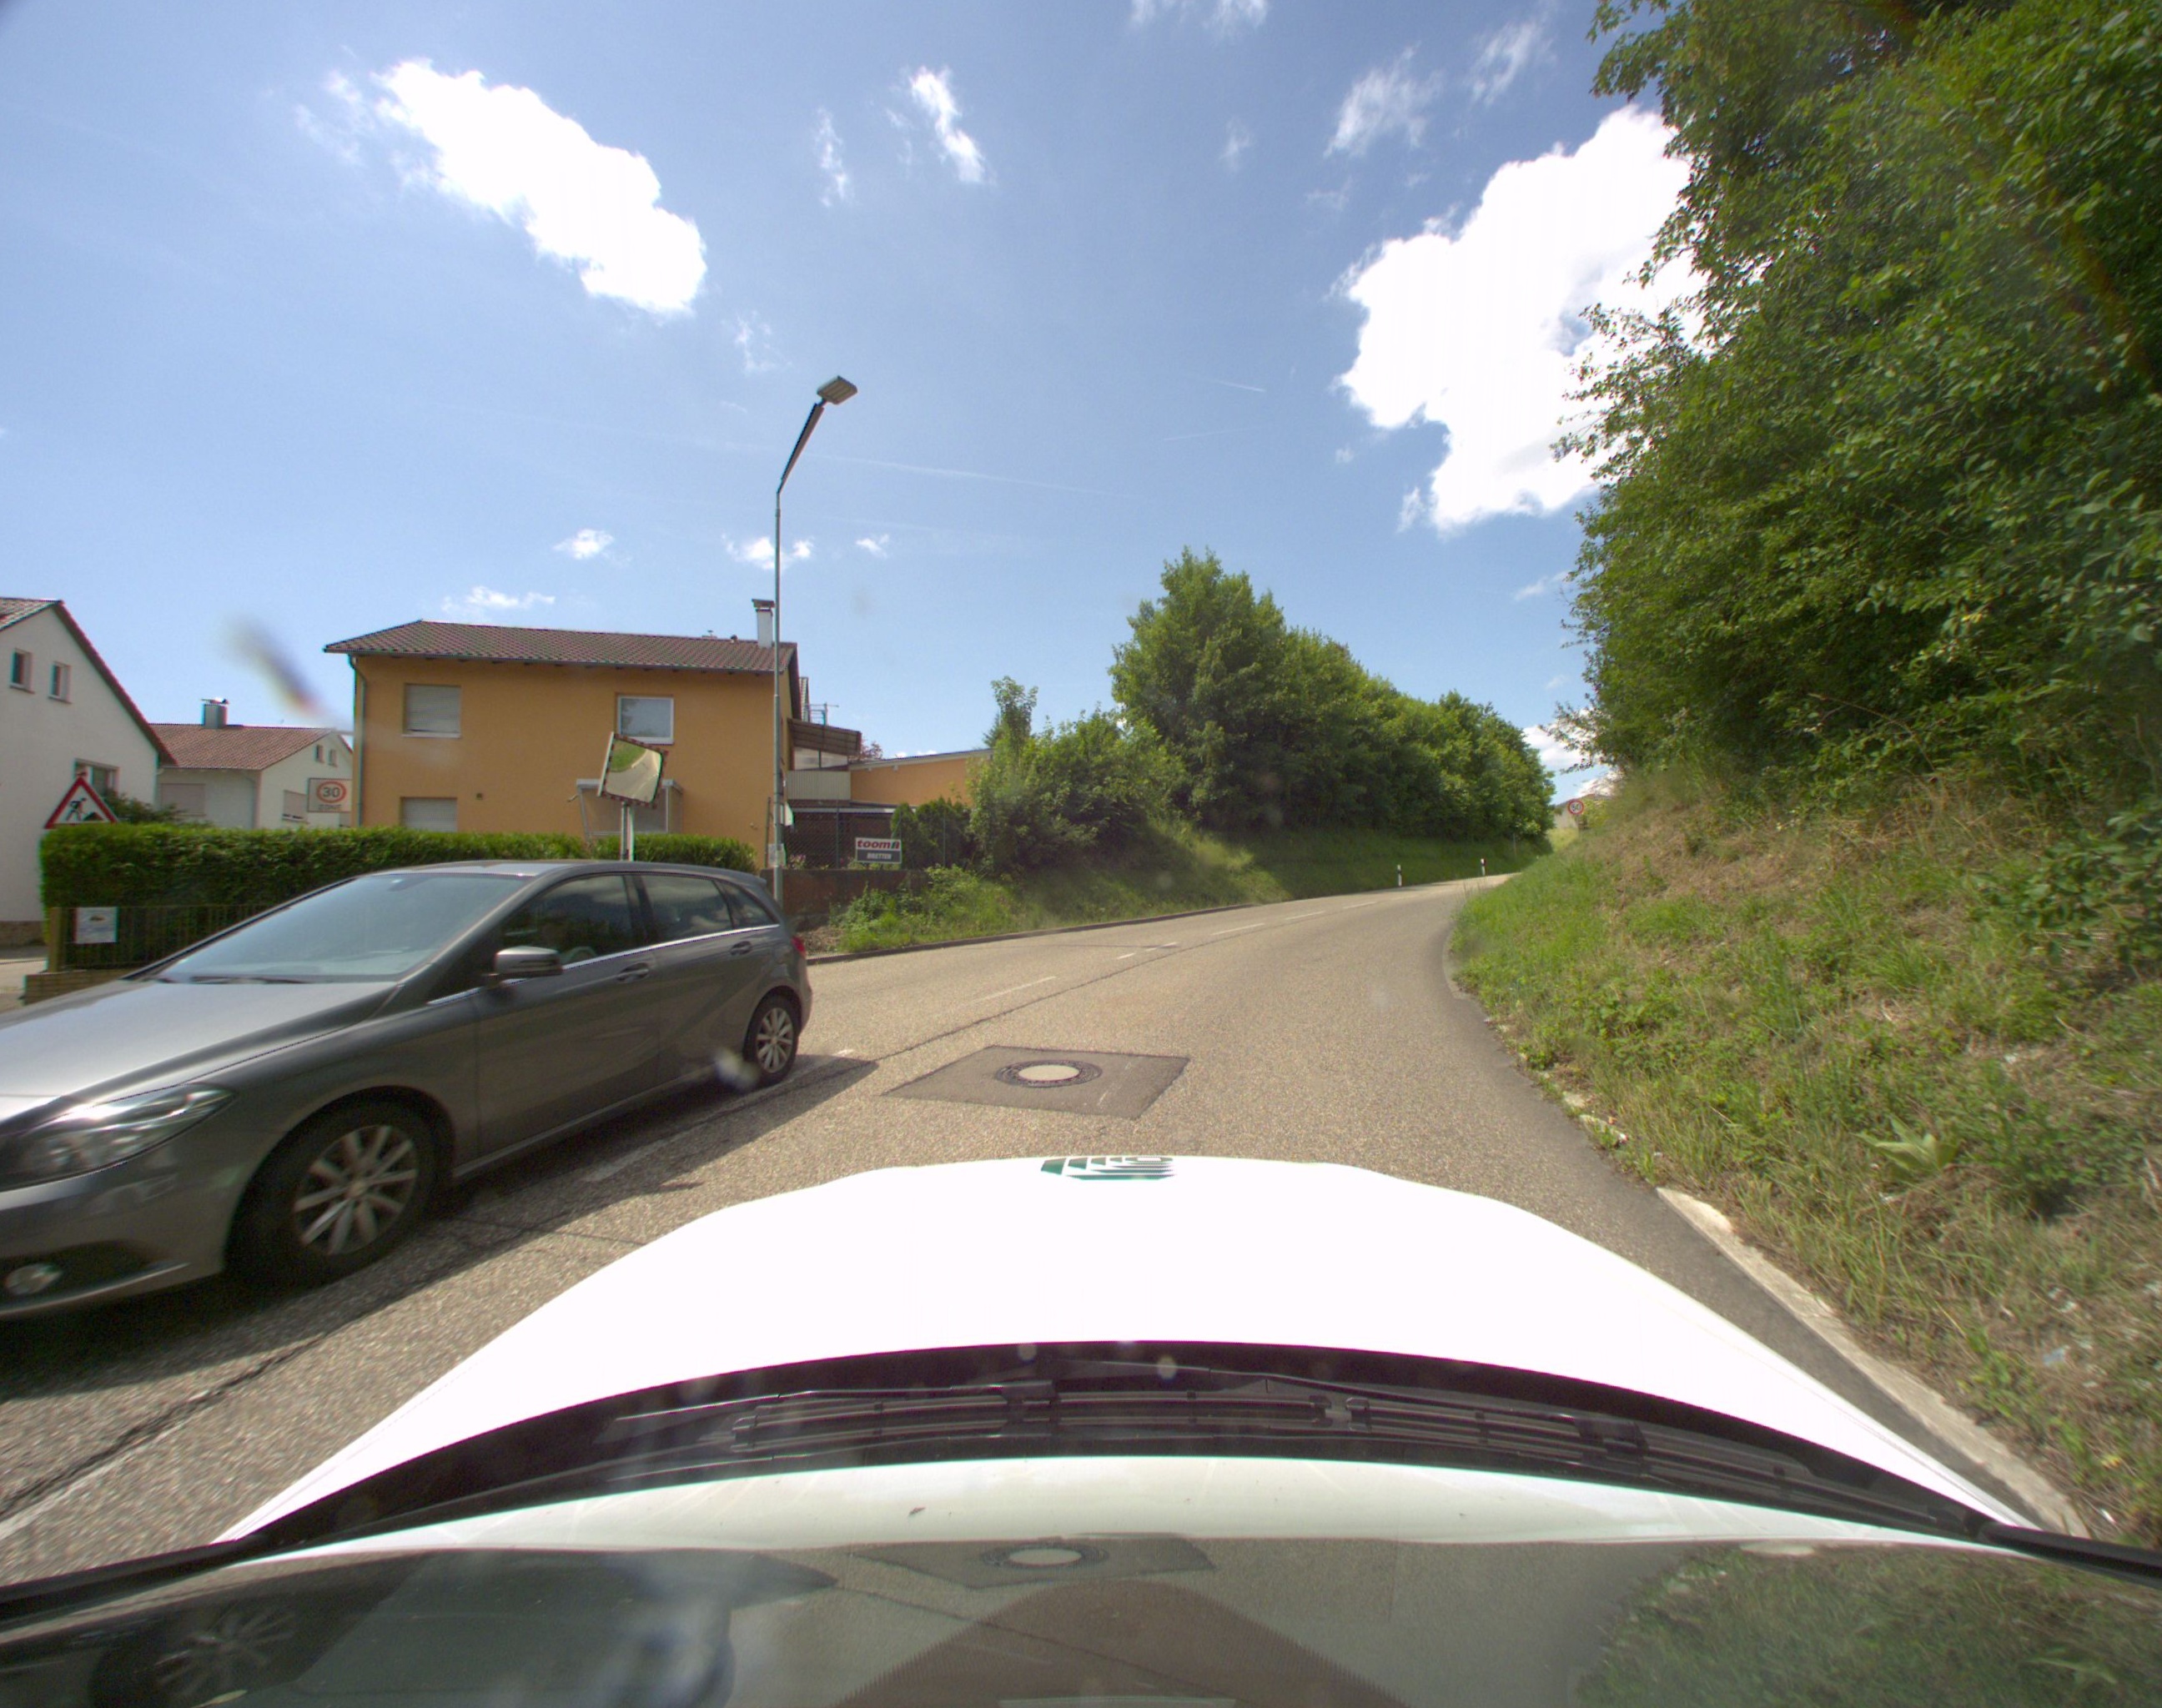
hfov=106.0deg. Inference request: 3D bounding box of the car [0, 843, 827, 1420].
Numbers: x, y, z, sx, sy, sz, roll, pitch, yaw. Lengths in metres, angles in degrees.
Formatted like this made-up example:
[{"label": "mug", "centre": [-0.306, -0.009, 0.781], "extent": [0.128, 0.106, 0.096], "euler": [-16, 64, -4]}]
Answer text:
[{"label": "car", "centre": [-3.232, 0.787, 4.404], "extent": [1.707, 1.556, 4.142], "euler": [-1, -1, 12]}]
